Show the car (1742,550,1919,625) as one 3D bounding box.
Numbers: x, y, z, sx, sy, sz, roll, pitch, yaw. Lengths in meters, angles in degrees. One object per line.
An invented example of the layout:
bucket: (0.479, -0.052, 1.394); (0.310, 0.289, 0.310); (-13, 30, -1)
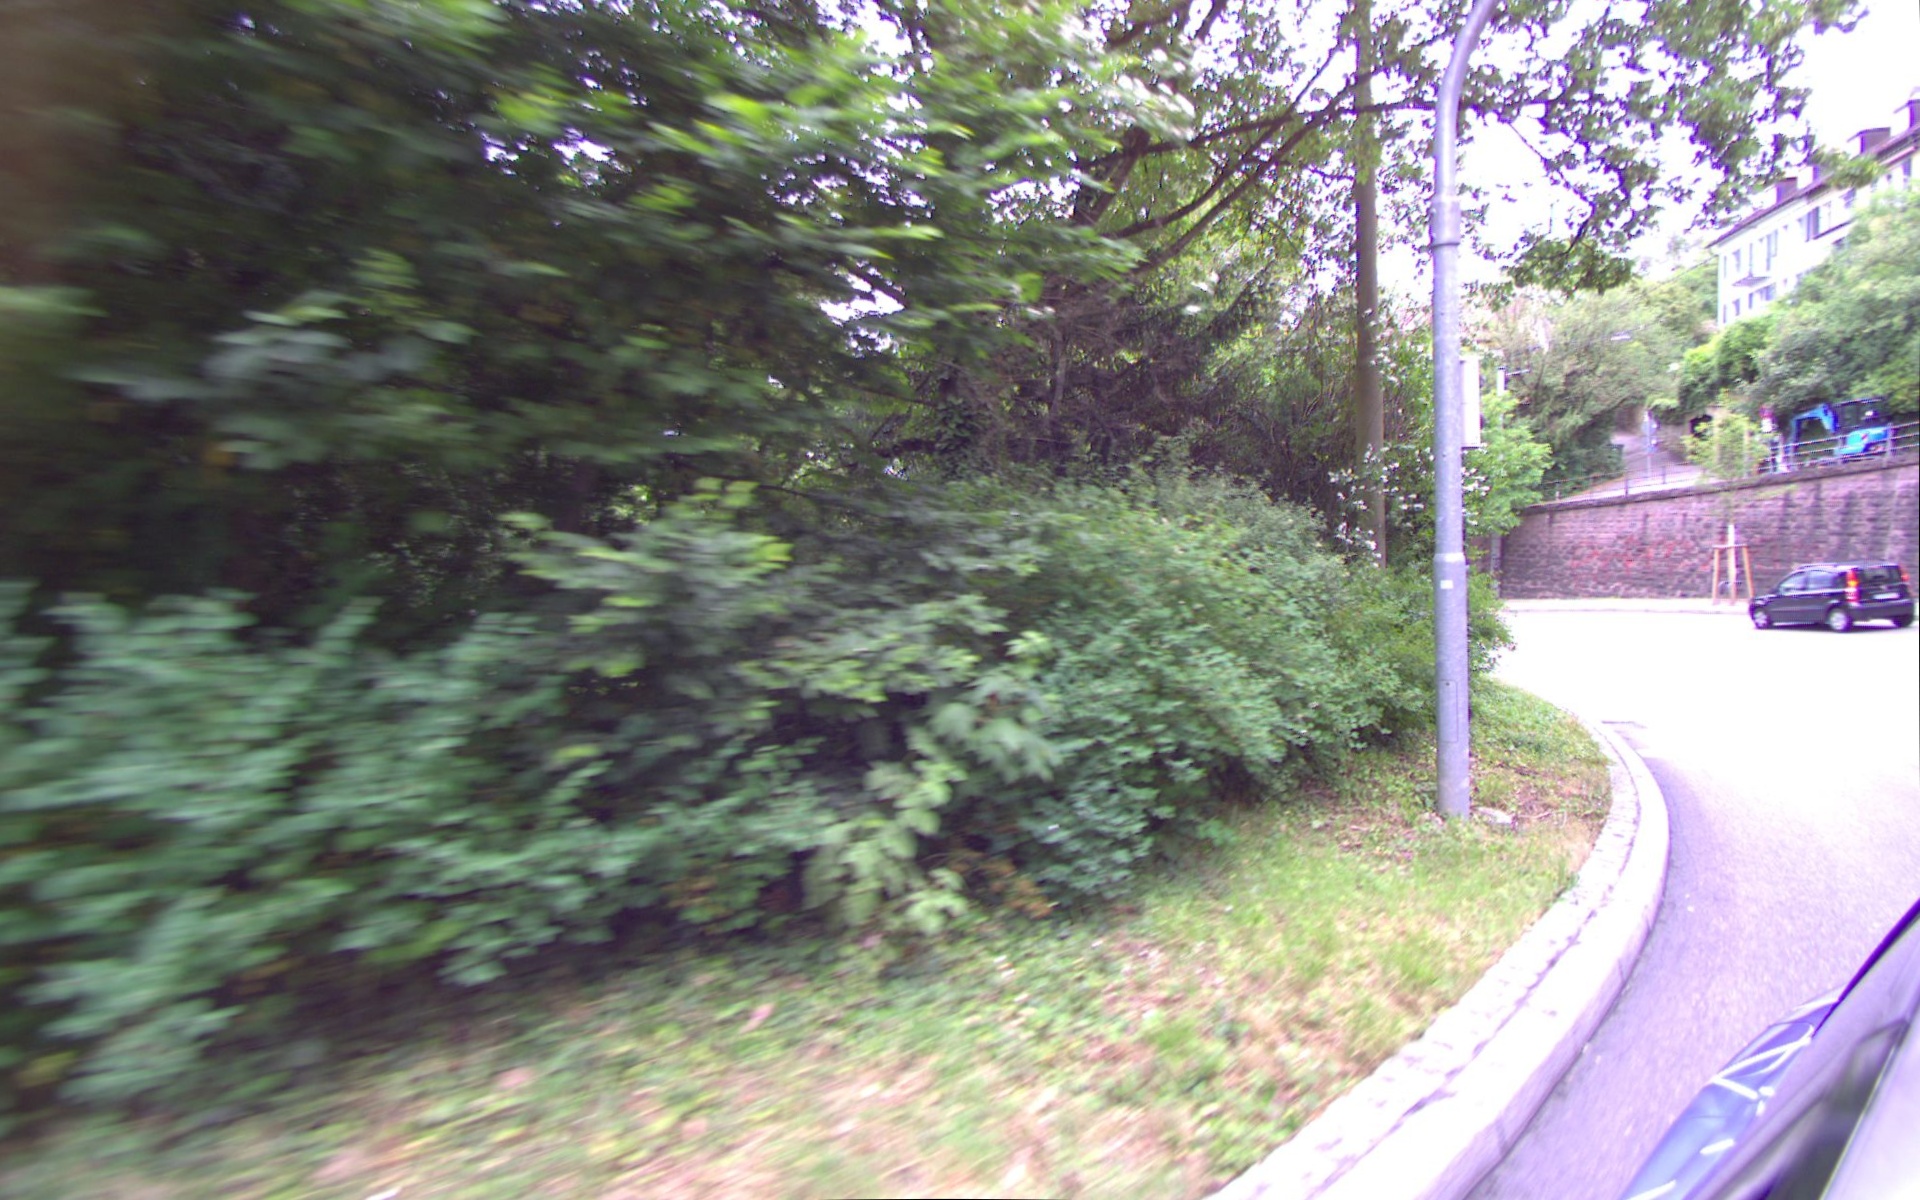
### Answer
car: (20.491, -0.273, 23.732); (1.483, 1.544, 3.657); (-4, -1, 3)

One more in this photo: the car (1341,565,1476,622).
car: (17.115, -0.196, 38.911); (1.791, 1.785, 4.677); (-8, 0, -21)

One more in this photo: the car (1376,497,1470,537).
car: (24.079, -4.288, 52.717); (1.743, 1.659, 4.063); (-7, 4, -35)

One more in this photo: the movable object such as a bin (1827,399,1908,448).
movable object such as a bin: (31.924, -6.211, 35.634); (1.227, 1.373, 1.607); (-4, 0, -10)
